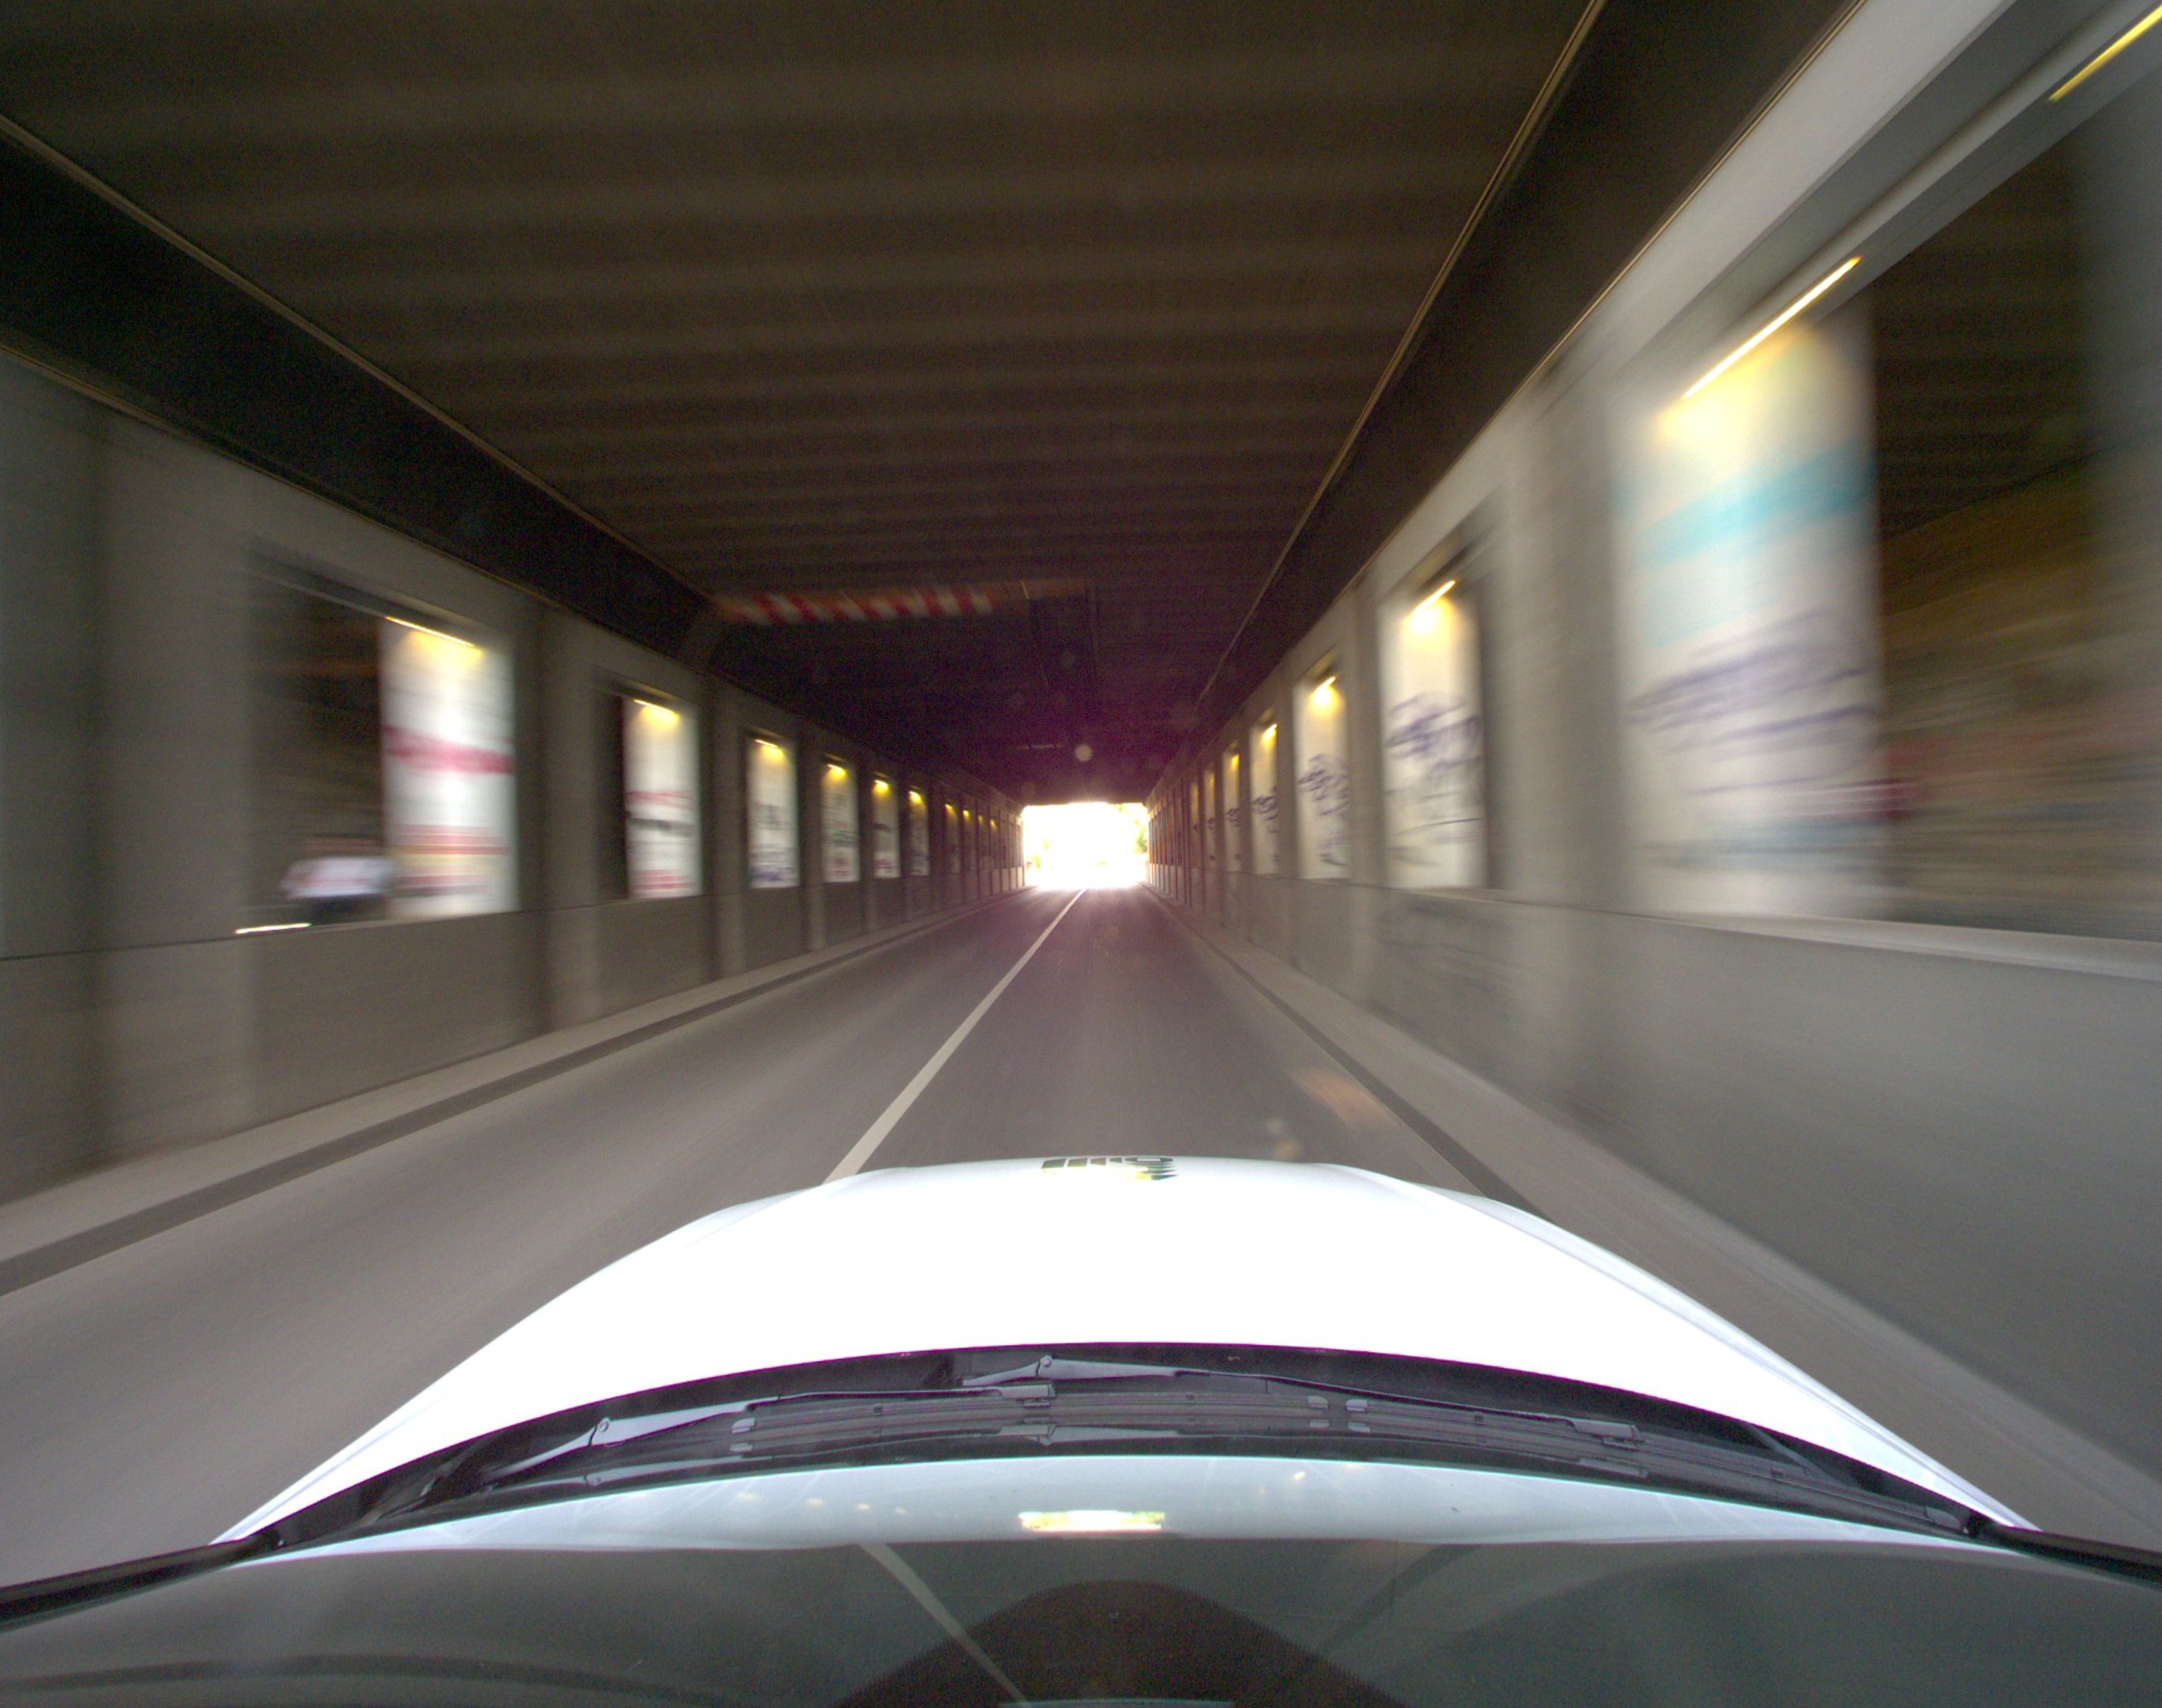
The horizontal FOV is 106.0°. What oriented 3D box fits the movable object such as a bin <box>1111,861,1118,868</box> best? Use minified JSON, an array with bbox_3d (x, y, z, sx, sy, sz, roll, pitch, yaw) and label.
[{"bbox_3d":[7.076,2.258,171.985,1.363,1.418,1.063,1,-2,-5],"label":"movable object such as a bin"}]
